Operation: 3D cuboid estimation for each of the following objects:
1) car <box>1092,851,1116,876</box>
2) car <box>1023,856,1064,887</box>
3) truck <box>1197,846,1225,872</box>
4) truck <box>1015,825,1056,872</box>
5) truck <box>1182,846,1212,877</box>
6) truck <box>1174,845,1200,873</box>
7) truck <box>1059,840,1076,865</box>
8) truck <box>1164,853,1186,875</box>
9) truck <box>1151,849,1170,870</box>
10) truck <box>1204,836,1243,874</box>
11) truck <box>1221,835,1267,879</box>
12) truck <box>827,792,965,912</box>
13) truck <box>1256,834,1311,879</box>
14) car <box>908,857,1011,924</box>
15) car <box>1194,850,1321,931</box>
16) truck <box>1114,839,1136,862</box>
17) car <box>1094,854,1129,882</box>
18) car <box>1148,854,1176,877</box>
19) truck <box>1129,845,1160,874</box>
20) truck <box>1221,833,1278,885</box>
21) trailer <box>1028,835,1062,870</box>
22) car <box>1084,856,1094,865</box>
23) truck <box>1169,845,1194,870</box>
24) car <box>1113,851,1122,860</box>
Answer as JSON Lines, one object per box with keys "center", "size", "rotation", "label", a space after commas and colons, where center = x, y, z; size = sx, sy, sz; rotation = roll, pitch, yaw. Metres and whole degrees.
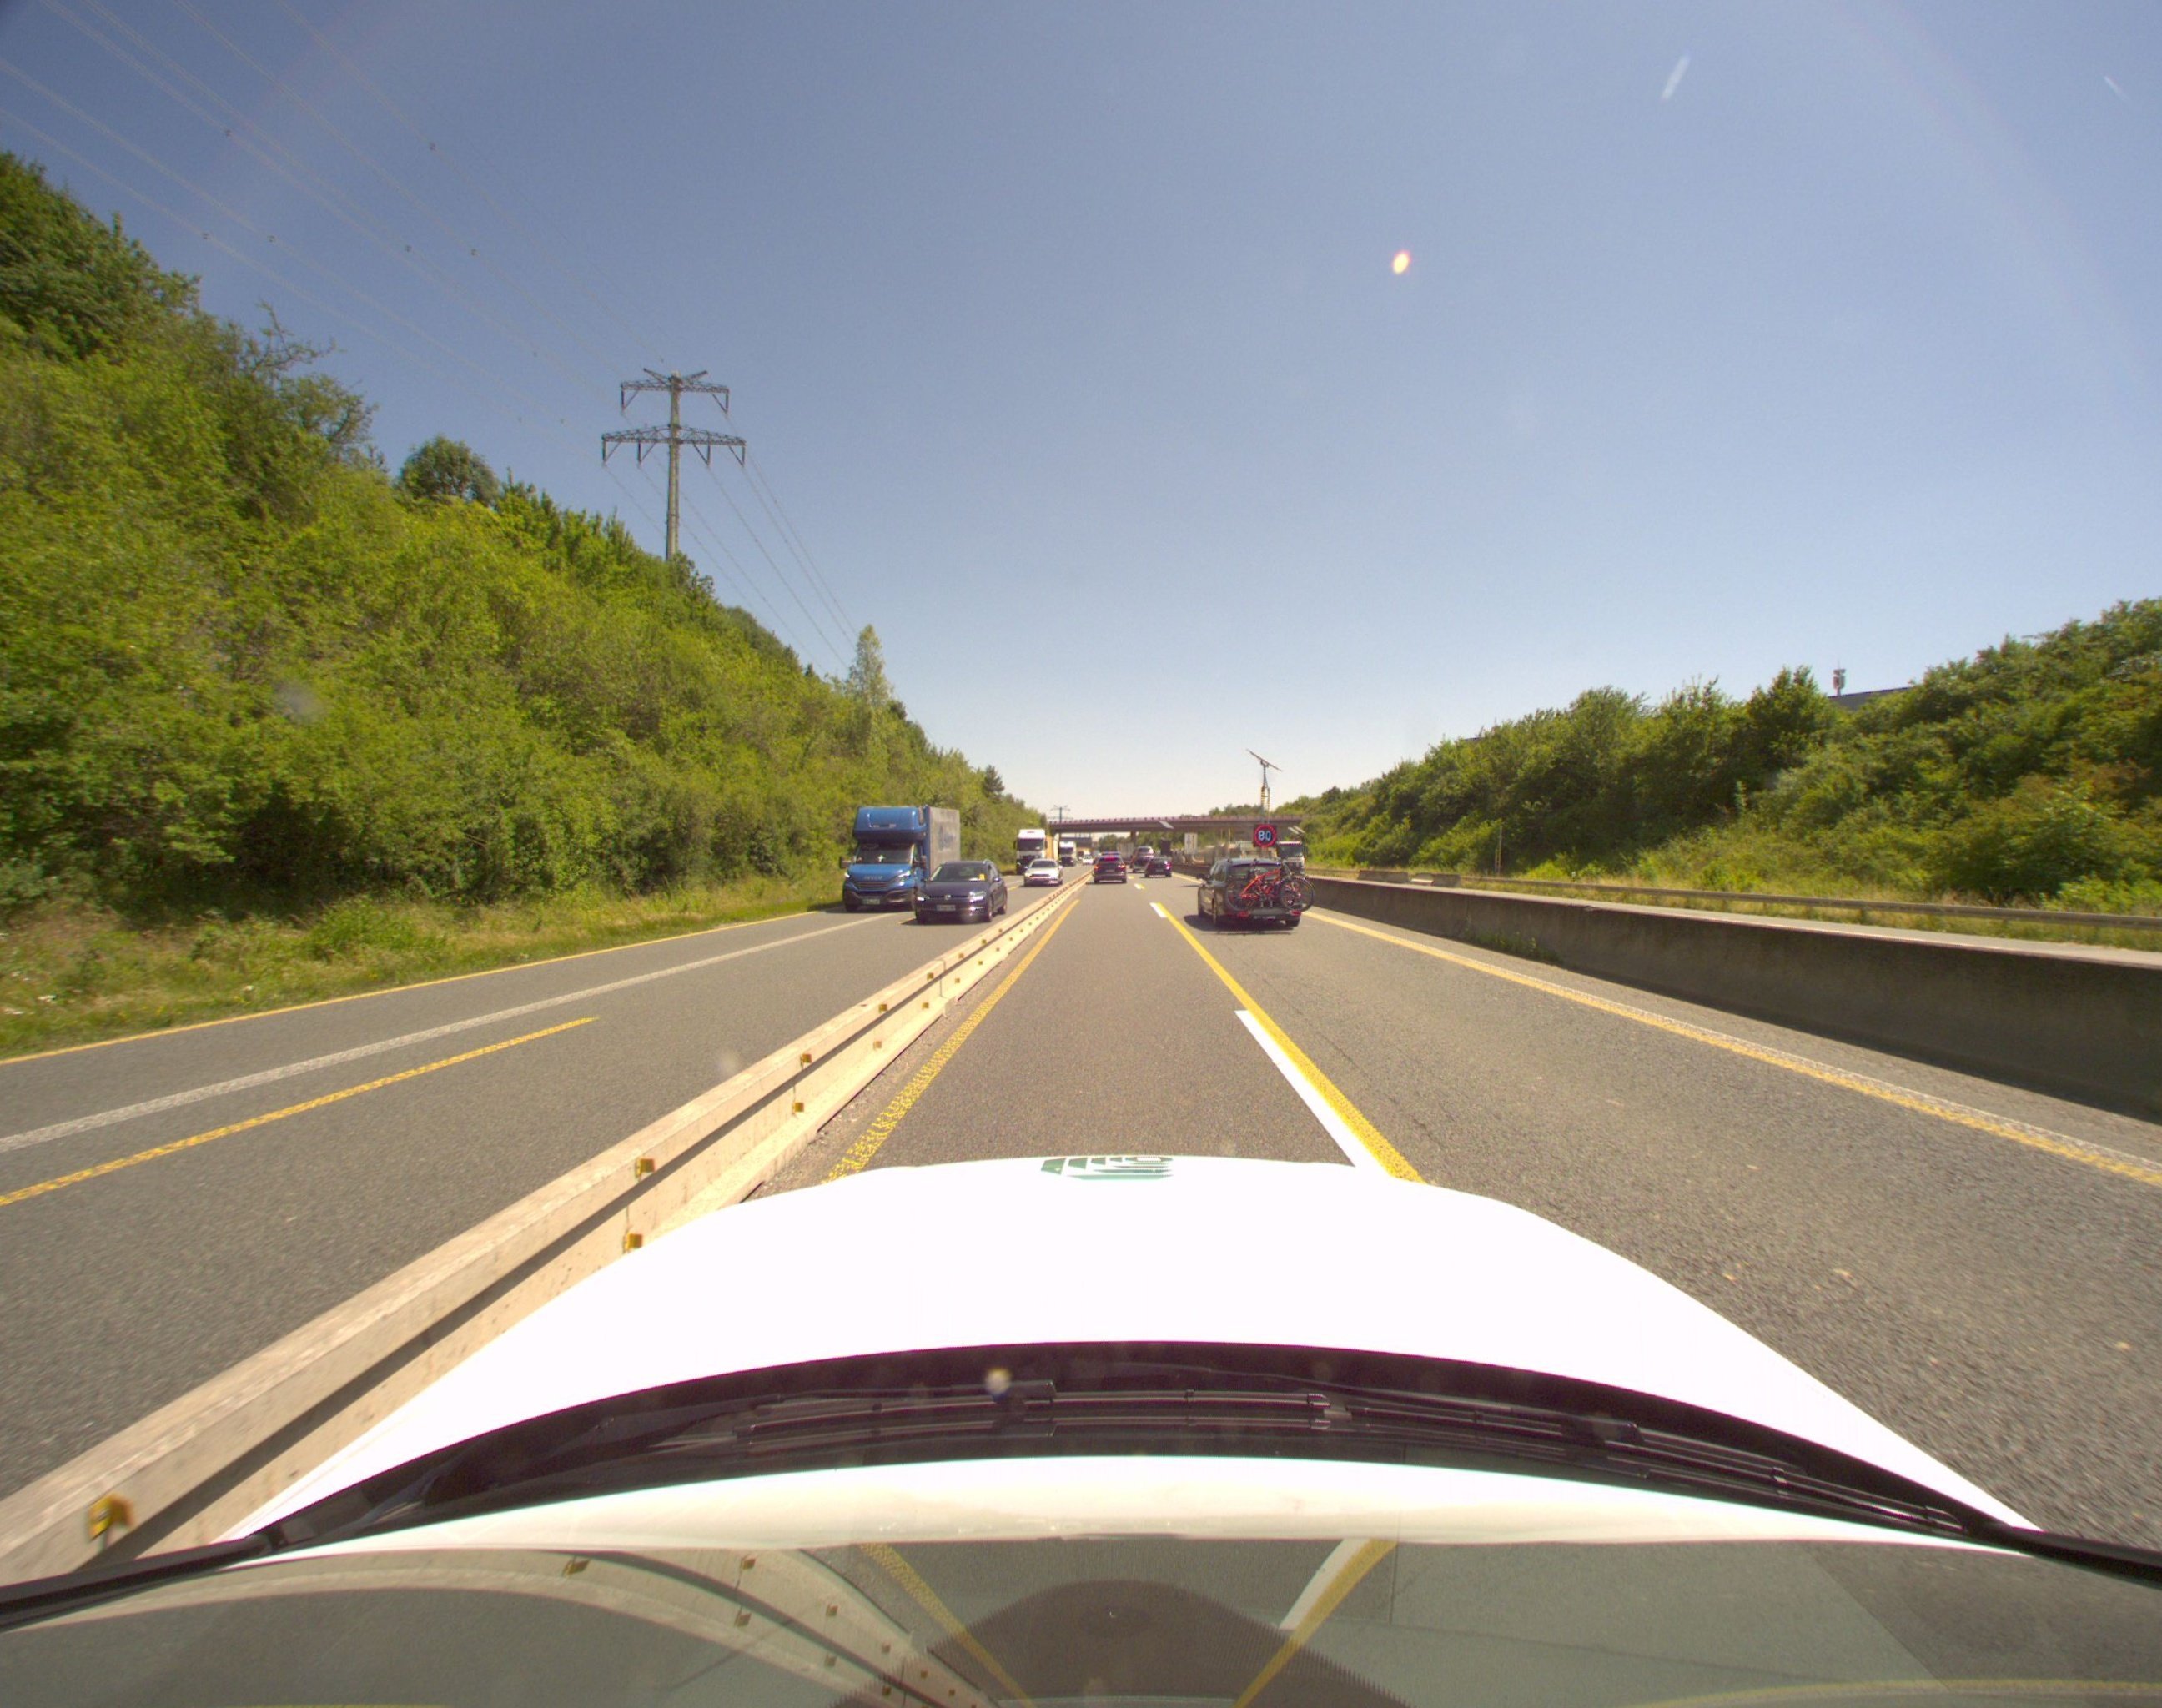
{"center": [1.873, 0.748, 65.785], "size": [1.891, 1.968, 4.279], "rotation": [0, 0, 2], "label": "car"}
{"center": [-1.944, 0.907, 43.547], "size": [1.835, 1.490, 4.512], "rotation": [-2, -1, 2], "label": "car"}
{"center": [17.546, 0.692, 110.433], "size": [2.676, 3.378, 9.609], "rotation": [-1, 0, 3], "label": "truck"}
{"center": [-4.062, -0.467, 74.586], "size": [2.639, 3.992, 9.657], "rotation": [1, 0, 3], "label": "truck"}
{"center": [14.208, 0.912, 100.373], "size": [2.677, 3.557, 9.606], "rotation": [-1, 0, 2], "label": "truck"}
{"center": [14.546, 0.670, 111.977], "size": [2.676, 3.557, 9.411], "rotation": [-1, 0, 2], "label": "truck"}
{"center": [-2.155, -0.215, 137.648], "size": [2.401, 3.992, 10.355], "rotation": [0, 0, 2], "label": "truck"}
{"center": [15.297, 1.597, 133.296], "size": [2.678, 3.557, 9.326], "rotation": [-1, 0, 1], "label": "truck"}
{"center": [14.721, 1.042, 151.606], "size": [2.677, 3.761, 9.327], "rotation": [-1, 0, 1], "label": "truck"}
{"center": [14.208, 0.124, 81.981], "size": [2.529, 3.557, 9.606], "rotation": [-1, 0, 2], "label": "truck"}
{"center": [13.806, 0.258, 69.745], "size": [2.523, 3.511, 8.950], "rotation": [-1, 0, 3], "label": "truck"}
{"center": [-5.696, -0.070, 26.440], "size": [2.396, 3.330, 7.505], "rotation": [0, 0, 3], "label": "truck"}
{"center": [16.564, 0.208, 67.162], "size": [2.677, 3.511, 8.383], "rotation": [-1, 0, 2], "label": "truck"}
{"center": [-2.894, 0.843, 20.365], "size": [1.754, 1.490, 4.403], "rotation": [0, -1, 2], "label": "car"}
{"center": [3.631, 0.711, 17.672], "size": [1.891, 1.490, 4.950], "rotation": [0, -1, 2], "label": "car"}
{"center": [7.855, -0.557, 145.363], "size": [3.282, 3.845, 10.107], "rotation": [-1, 0, 0], "label": "truck"}
{"center": [1.770, 0.799, 46.652], "size": [1.891, 1.505, 4.279], "rotation": [0, 0, 2], "label": "car"}
{"center": [5.722, 0.780, 57.909], "size": [1.891, 1.585, 4.280], "rotation": [0, 0, 4], "label": "car"}
{"center": [5.817, 0.494, 75.877], "size": [2.397, 2.558, 7.500], "rotation": [0, 0, 1], "label": "truck"}
{"center": [12.201, 0.345, 59.609], "size": [2.524, 3.511, 9.100], "rotation": [-1, 0, 2], "label": "truck"}
{"center": [-3.627, -0.131, 83.865], "size": [2.639, 3.336, 8.924], "rotation": [1, 0, 3], "label": "trailer"}
{"center": [1.502, 1.149, 148.159], "size": [1.818, 1.631, 4.152], "rotation": [-1, -1, 1], "label": "car"}
{"center": [15.260, 0.534, 124.115], "size": [2.678, 3.557, 9.326], "rotation": [-1, 0, 1], "label": "truck"}
{"center": [8.066, 0.424, 180.803], "size": [1.891, 1.968, 4.279], "rotation": [0, 0, 2], "label": "car"}
